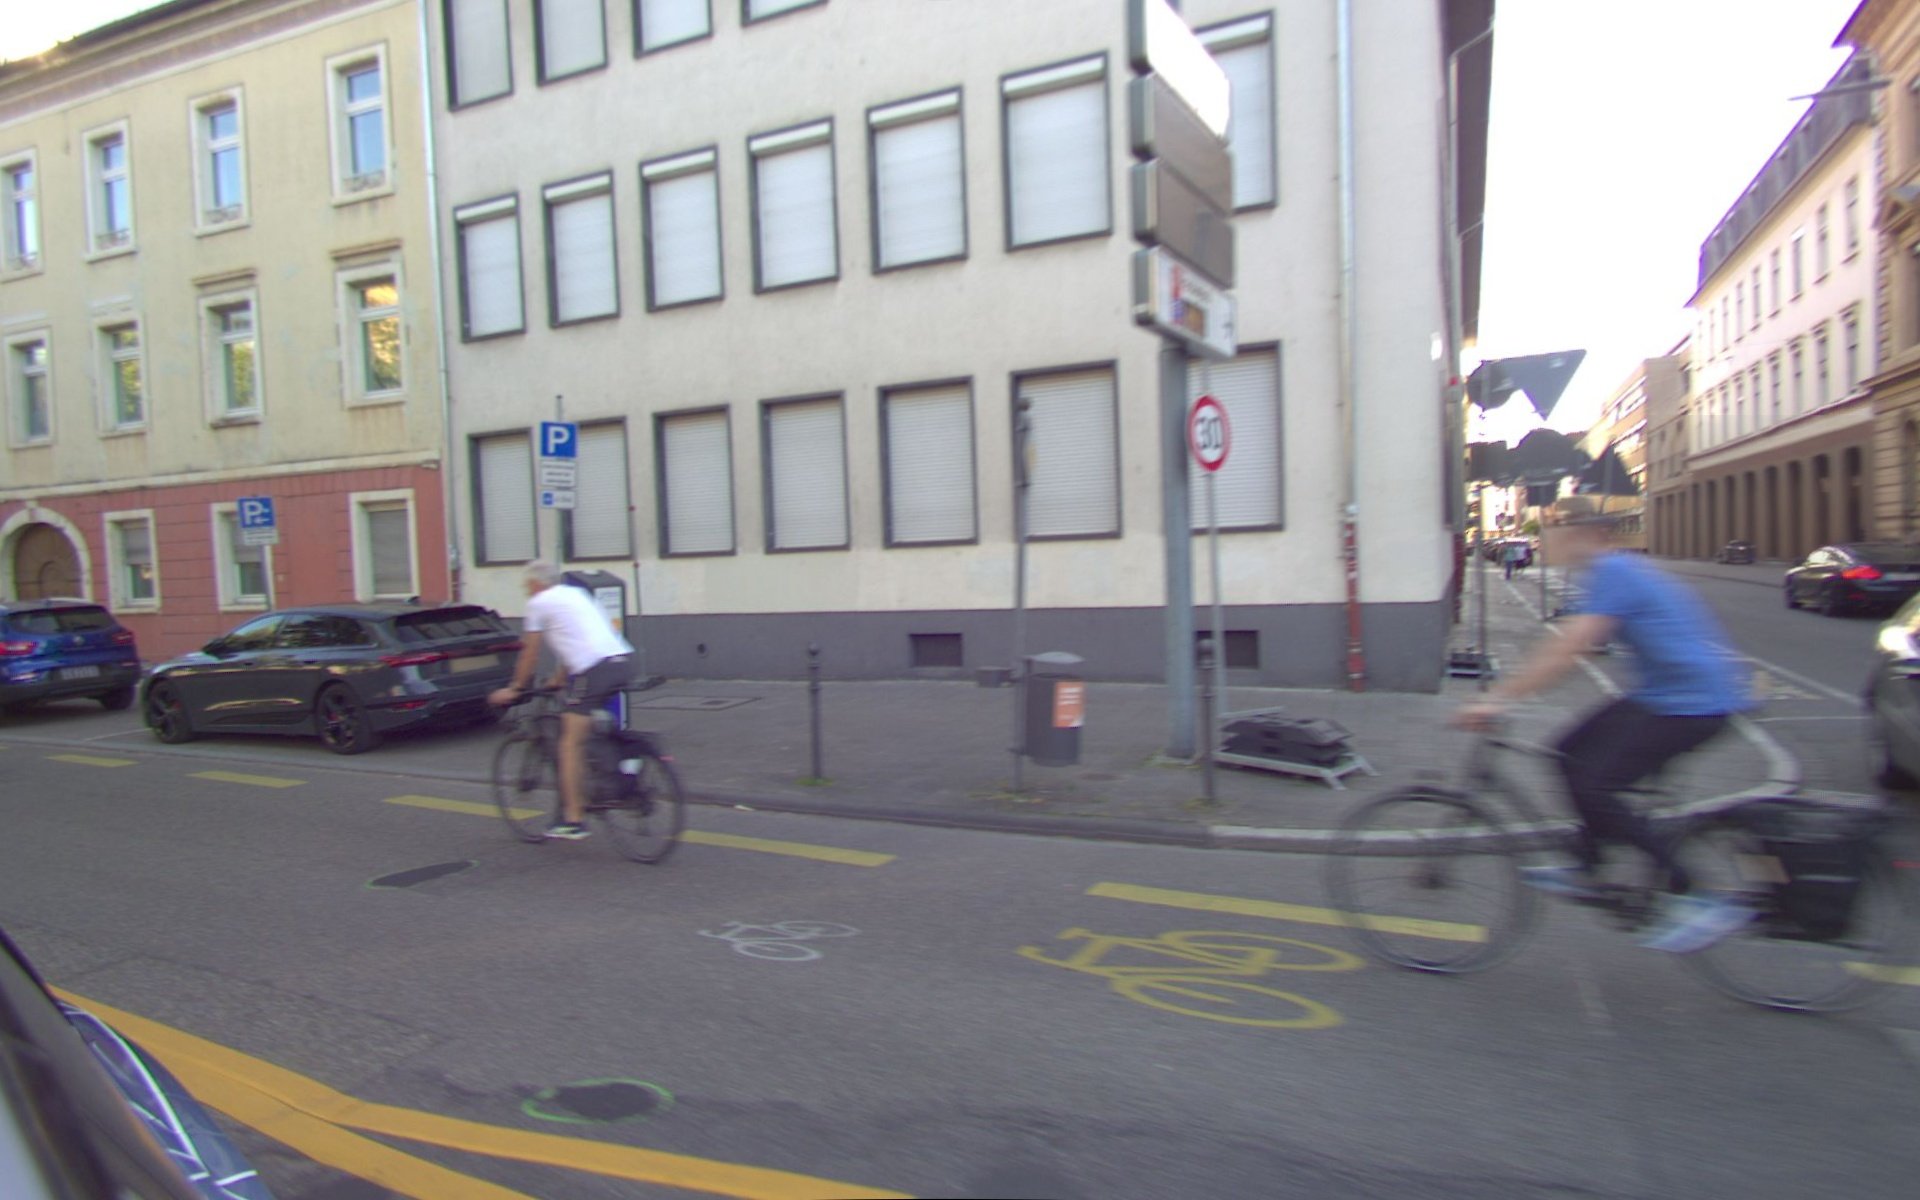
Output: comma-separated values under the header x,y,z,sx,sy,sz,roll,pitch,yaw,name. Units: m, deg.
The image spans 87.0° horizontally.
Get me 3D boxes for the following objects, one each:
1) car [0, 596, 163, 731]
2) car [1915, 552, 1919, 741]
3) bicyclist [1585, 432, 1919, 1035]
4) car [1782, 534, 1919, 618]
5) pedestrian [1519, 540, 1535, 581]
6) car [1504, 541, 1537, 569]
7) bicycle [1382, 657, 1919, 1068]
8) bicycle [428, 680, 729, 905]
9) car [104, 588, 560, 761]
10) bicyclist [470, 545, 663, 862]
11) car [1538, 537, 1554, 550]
x,y,z,sx,sy,sz,roll,pitch,yaw,name
-13.459,0.834,14.126,4.126,1.583,1.795,-1,2,22,car
6.257,0.444,4.812,1.762,1.332,4.721,-1,3,34,car
2.523,0.375,3.277,0.833,1.687,0.576,0,0,32,bicyclist
17.759,-0.518,19.619,1.991,1.452,4.284,-1,2,28,car
25.599,-1.787,45.679,0.554,1.794,0.639,-1,2,25,pedestrian
37.072,-2.942,66.962,1.776,1.696,3.963,0,0,27,car
2.457,0.767,3.326,1.891,1.078,0.604,-1,1,33,bicycle
-2.258,1.025,5.859,2.026,0.995,0.582,-1,1,35,bicycle
-7.036,0.745,11.324,4.756,1.518,1.868,-1,4,23,car
-2.282,0.547,5.860,1.008,1.671,0.569,0,0,35,bicyclist
70.355,-6.810,121.542,1.437,1.475,3.370,-1,2,27,car
